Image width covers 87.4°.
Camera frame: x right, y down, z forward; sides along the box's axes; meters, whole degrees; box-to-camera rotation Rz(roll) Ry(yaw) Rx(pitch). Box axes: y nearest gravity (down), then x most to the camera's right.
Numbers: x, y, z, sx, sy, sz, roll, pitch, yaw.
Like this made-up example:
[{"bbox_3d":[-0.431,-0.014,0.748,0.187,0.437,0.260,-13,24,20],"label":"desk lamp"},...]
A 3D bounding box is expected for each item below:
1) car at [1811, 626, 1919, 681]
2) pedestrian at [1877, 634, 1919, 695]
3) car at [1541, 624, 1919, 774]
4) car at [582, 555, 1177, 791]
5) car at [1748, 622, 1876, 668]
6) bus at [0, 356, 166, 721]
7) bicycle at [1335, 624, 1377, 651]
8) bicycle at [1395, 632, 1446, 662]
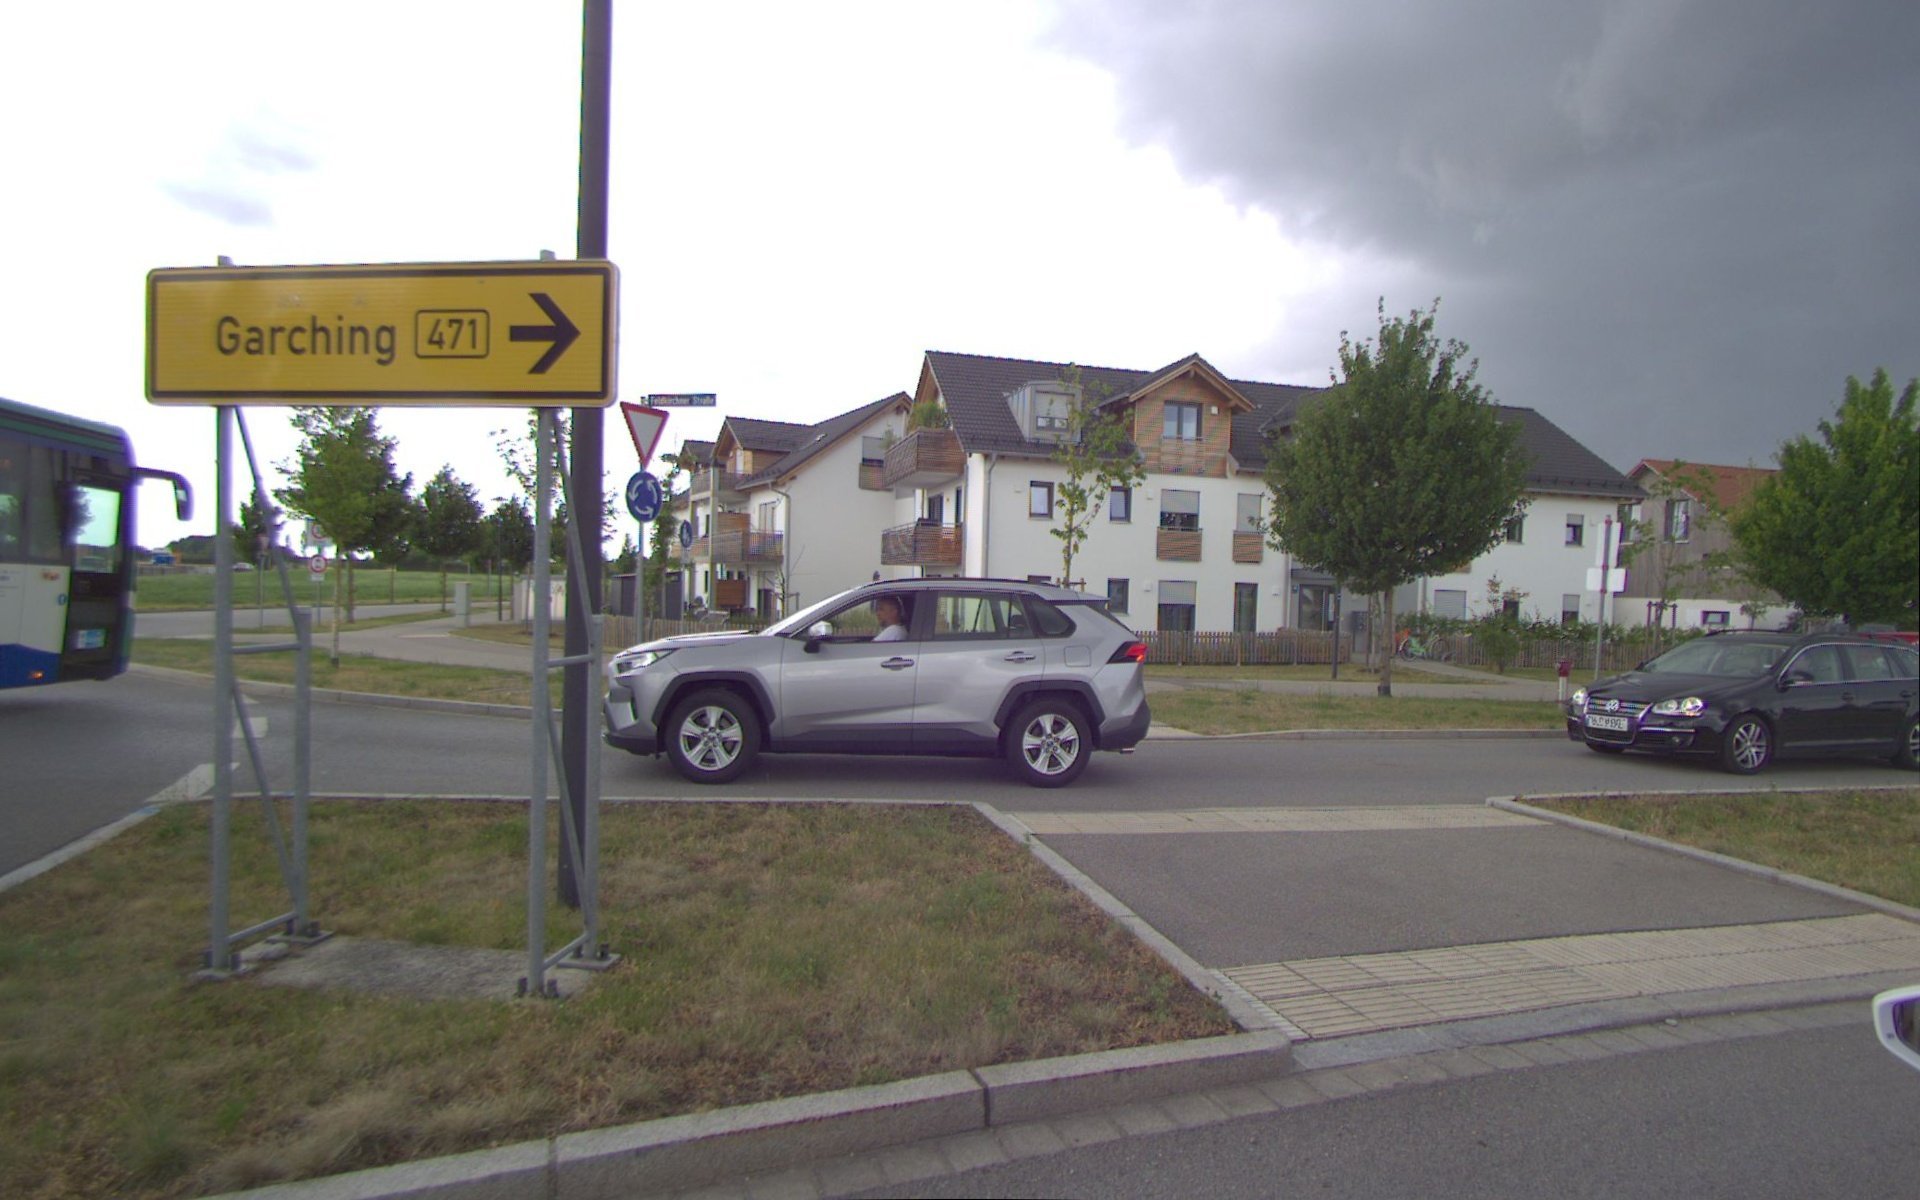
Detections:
[{"bbox_3d":[32.795,1.874,34.974,1.966,1.702,4.533,2,1,-13],"label":"car"},{"bbox_3d":[25.093,1.730,26.836,0.649,1.580,0.581,2,1,-18],"label":"pedestrian"},{"bbox_3d":[8.972,1.063,11.244,4.383,1.435,1.753,2,-1,-17],"label":"car"},{"bbox_3d":[-0.664,0.616,8.738,4.552,1.726,1.996,2,-1,-10],"label":"car"},{"bbox_3d":[37.716,1.983,44.492,4.387,1.795,1.995,2,1,-12],"label":"car"},{"bbox_3d":[-9.795,-0.599,7.959,2.479,3.301,6.539,2,-1,-9],"label":"bus"},{"bbox_3d":[13.365,1.261,33.933,1.315,0.854,0.367,2,3,-15],"label":"bicycle"},{"bbox_3d":[14.325,1.464,31.235,1.521,0.854,0.367,2,3,-15],"label":"bicycle"}]
